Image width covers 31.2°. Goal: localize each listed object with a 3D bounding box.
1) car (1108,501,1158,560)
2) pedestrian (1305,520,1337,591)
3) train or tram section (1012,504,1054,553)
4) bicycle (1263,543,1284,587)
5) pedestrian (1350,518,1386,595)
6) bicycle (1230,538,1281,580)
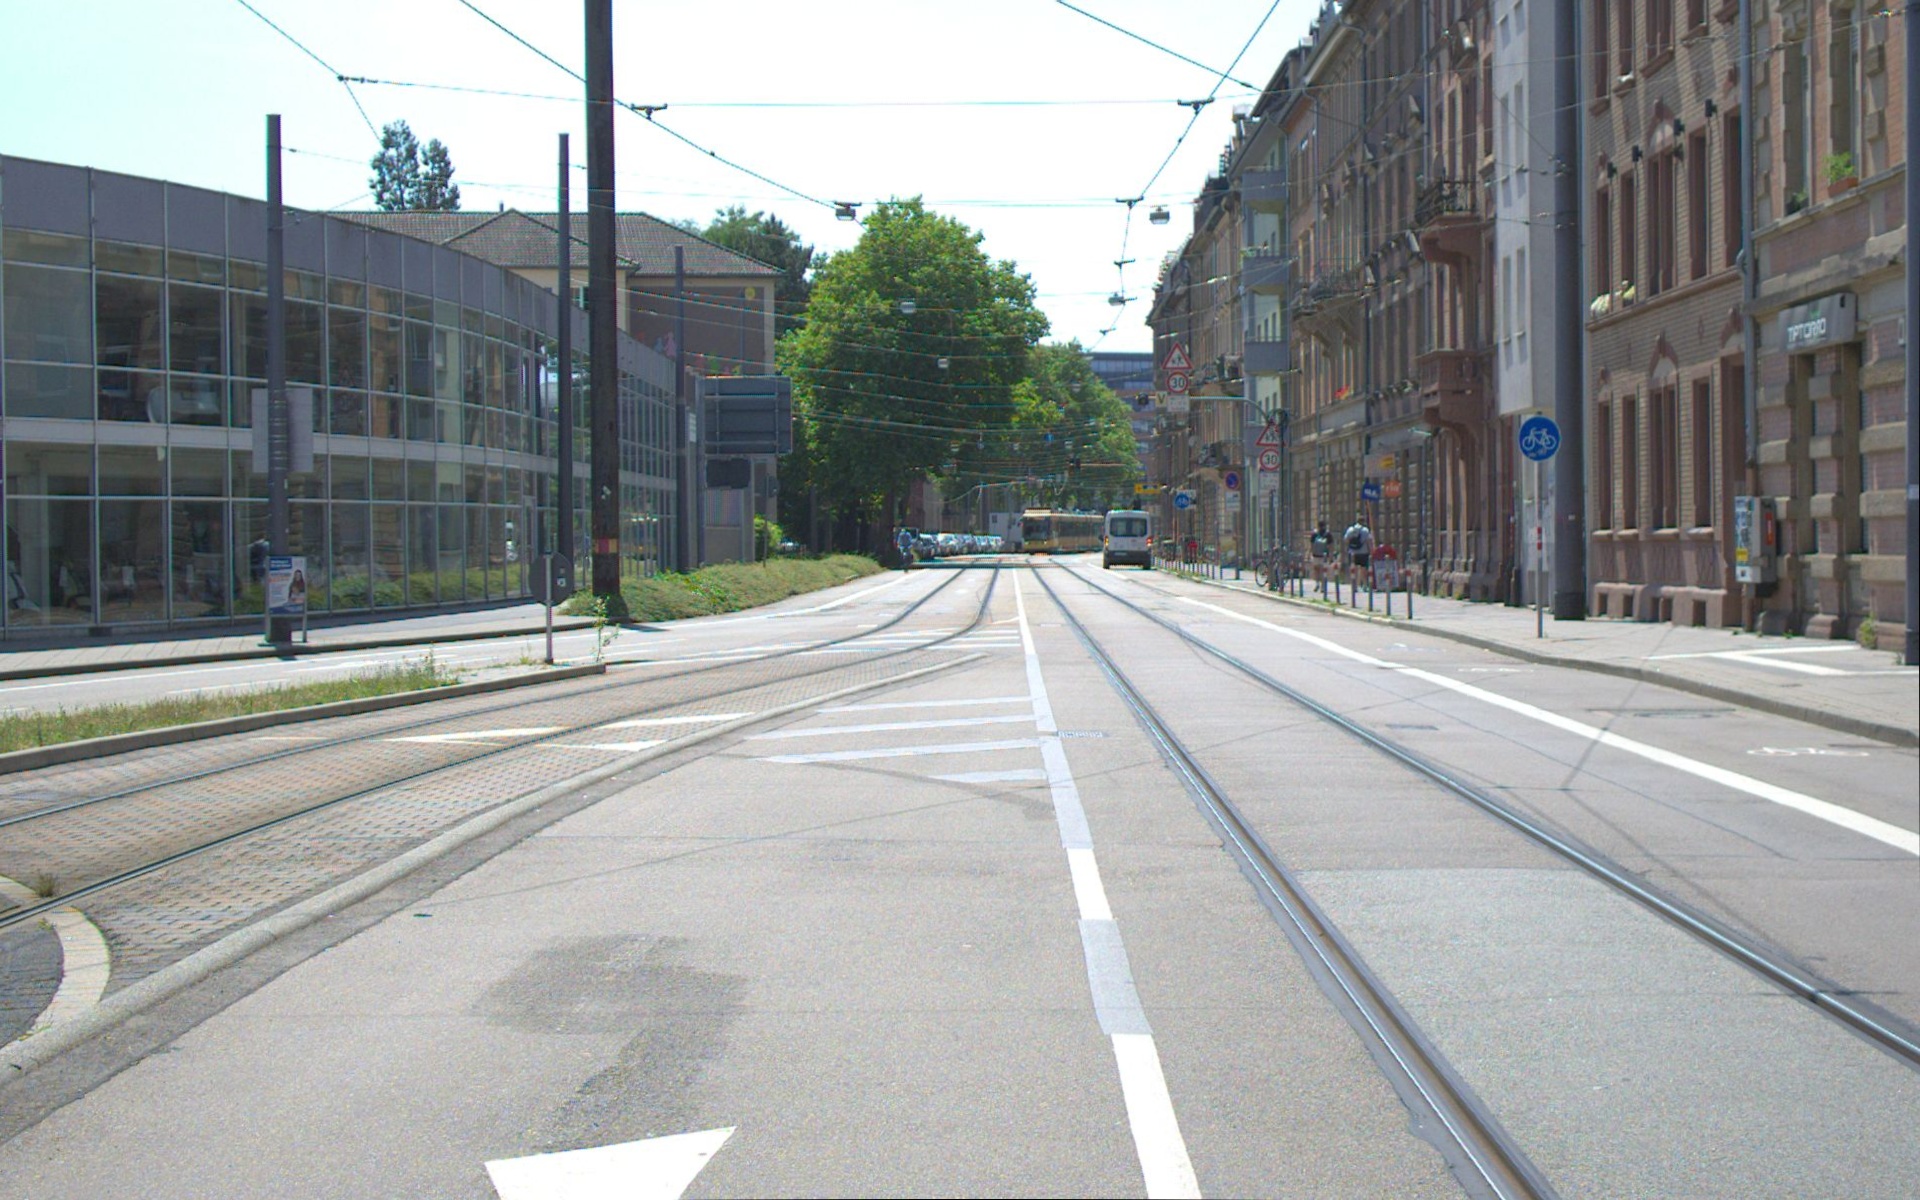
[{"bbox_3d":[7.451,-2.997,148.659,2.067,2.492,5.454,1,1,2],"label":"car"},{"bbox_3d":[8.854,-1.092,84.326,0.720,1.714,0.643,-1,1,2],"label":"pedestrian"},{"bbox_3d":[5.429,-5.331,256.400,2.960,3.568,13.424,0,1,1],"label":"train or tram section"},{"bbox_3d":[7.988,-0.910,87.590,0.448,1.093,2.422,-1,1,6],"label":"bicycle"},{"bbox_3d":[9.976,-1.063,84.086,0.702,1.842,0.643,-4,1,2],"label":"pedestrian"},{"bbox_3d":[8.184,-1.143,95.116,0.499,1.127,2.239,0,1,30],"label":"bicycle"}]
